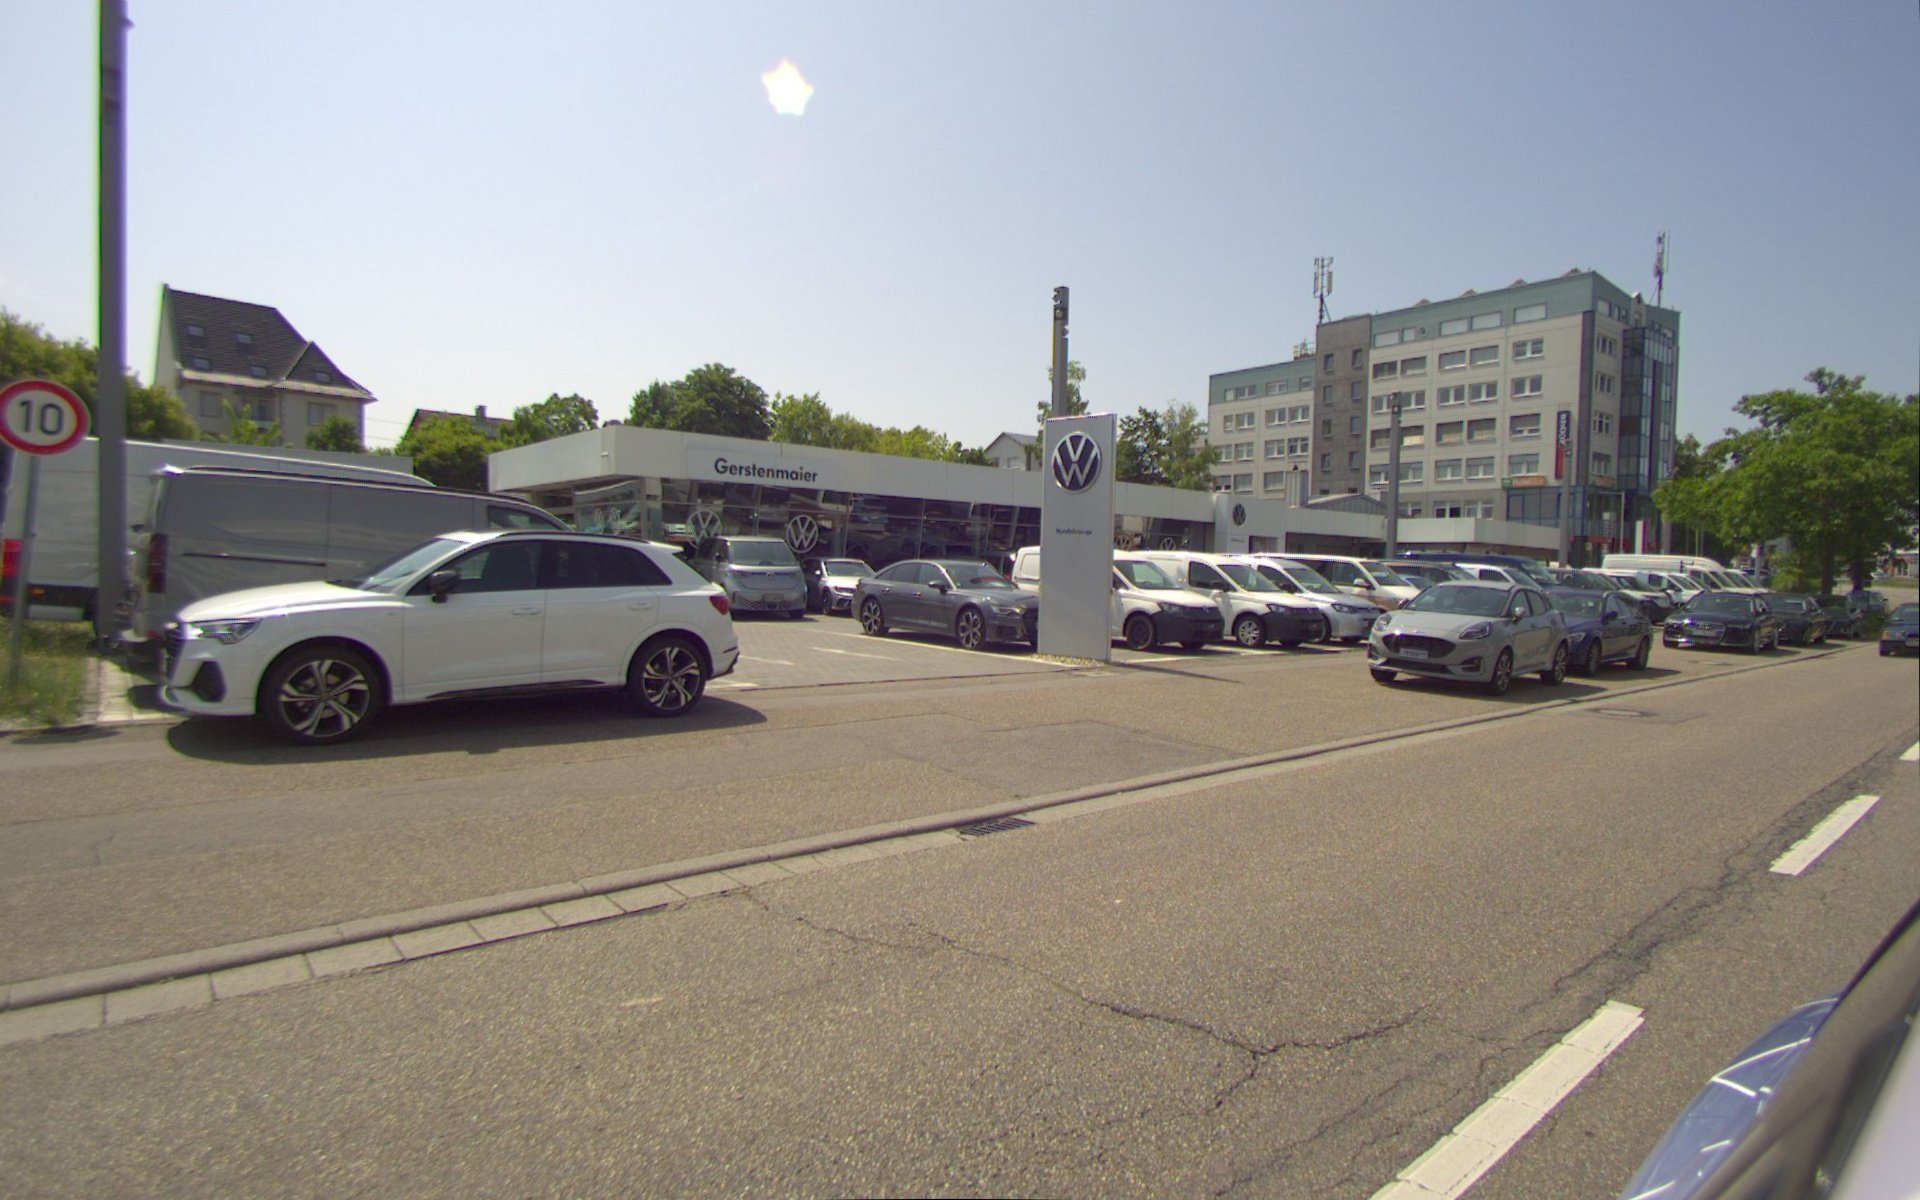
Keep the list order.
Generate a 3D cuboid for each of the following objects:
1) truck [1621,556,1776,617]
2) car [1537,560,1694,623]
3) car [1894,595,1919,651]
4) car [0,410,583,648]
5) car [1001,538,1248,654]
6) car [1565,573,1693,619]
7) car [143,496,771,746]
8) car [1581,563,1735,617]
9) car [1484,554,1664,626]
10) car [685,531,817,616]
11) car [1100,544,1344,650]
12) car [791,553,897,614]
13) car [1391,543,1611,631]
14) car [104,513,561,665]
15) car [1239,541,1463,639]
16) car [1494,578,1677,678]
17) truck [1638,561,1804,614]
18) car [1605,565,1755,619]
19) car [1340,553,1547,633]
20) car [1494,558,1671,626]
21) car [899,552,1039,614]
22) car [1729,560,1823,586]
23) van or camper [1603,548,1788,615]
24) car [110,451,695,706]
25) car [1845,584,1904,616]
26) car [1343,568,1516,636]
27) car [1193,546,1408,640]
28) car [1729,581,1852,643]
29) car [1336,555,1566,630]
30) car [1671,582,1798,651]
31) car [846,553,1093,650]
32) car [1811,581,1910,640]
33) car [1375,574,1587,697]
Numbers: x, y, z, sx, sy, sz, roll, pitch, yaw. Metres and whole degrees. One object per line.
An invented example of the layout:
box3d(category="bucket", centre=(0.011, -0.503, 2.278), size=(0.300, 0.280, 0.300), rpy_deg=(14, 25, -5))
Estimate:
box3d(category="truck", centre=(33.510, -0.677, 46.072), size=(2.073, 2.465, 5.261), rpy_deg=(0, 4, -39))
box3d(category="car", centre=(25.162, -0.403, 38.975), size=(2.159, 2.037, 4.522), rpy_deg=(-2, 6, -40))
box3d(category="car", centre=(25.430, 0.574, 26.238), size=(1.693, 1.391, 3.936), rpy_deg=(0, 0, 44))
box3d(category="car", centre=(-9.294, -0.869, 14.535), size=(6.895, 2.708, 2.260), rpy_deg=(0, 3, -41))
box3d(category="car", centre=(2.987, -0.173, 19.177), size=(1.876, 1.905, 4.421), rpy_deg=(0, 3, -41))
box3d(category="car", centre=(27.199, -0.182, 41.198), size=(4.025, 1.488, 1.885), rpy_deg=(7, 5, 43))
box3d(category="car", centre=(-4.044, 0.091, 8.668), size=(4.533, 1.615, 1.670), rpy_deg=(0, 3, -42))
box3d(category="car", centre=(29.320, -0.473, 42.647), size=(2.104, 1.994, 4.924), rpy_deg=(-1, 4, -40))
box3d(category="car", centre=(21.256, -0.405, 35.206), size=(2.092, 2.140, 4.909), rpy_deg=(0, 4, -42))
box3d(category="car", centre=(-5.143, -0.669, 24.424), size=(1.961, 1.846, 4.386), rpy_deg=(1, 2, -27))
box3d(category="car", centre=(5.248, -0.158, 20.793), size=(1.826, 1.911, 4.562), rpy_deg=(0, 3, -43))
box3d(category="car", centre=(-3.027, -0.459, 25.958), size=(1.550, 1.430, 3.441), rpy_deg=(1, 2, -27))
box3d(category="car", centre=(17.095, -0.473, 32.325), size=(2.165, 2.554, 5.858), rpy_deg=(-2, 2, -38))
box3d(category="car", centre=(-7.453, -0.124, 12.326), size=(4.521, 1.533, 1.746), rpy_deg=(0, 0, -42))
box3d(category="car", centre=(9.412, -0.314, 24.668), size=(1.927, 2.038, 4.648), rpy_deg=(0, 4, -42))
box3d(category="car", centre=(11.699, 0.409, 18.791), size=(4.711, 1.567, 1.715), rpy_deg=(-1, 4, -44))
box3d(category="truck", centre=(38.509, -0.694, 51.393), size=(2.326, 2.365, 6.262), rpy_deg=(1, 3, -39))
box3d(category="car", centre=(31.416, -0.410, 44.281), size=(2.122, 2.139, 4.957), rpy_deg=(0, 3, -42))
box3d(category="car", centre=(13.313, -0.216, 28.105), size=(1.968, 2.009, 4.796), rpy_deg=(2, 0, -40))
box3d(category="car", centre=(22.750, -0.356, 37.157), size=(2.005, 2.122, 5.076), rpy_deg=(-1, 5, -41))
box3d(category="car", centre=(0.182, -0.527, 28.568), size=(1.825, 1.590, 3.998), rpy_deg=(0, 3, -38))
box3d(category="car", centre=(57.122, -1.908, 70.953), size=(4.688, 1.734, 1.985), rpy_deg=(0, 2, 24))
box3d(category="van or camper", centre=(35.088, -0.959, 48.516), size=(2.236, 2.933, 6.810), rpy_deg=(0, 3, -41))
box3d(category="car", centre=(-5.557, -0.215, 10.588), size=(5.072, 2.048, 1.996), rpy_deg=(-1, 1, -42))
box3d(category="car", centre=(44.899, -0.031, 49.658), size=(4.248, 1.423, 1.799), rpy_deg=(-2, 2, -43))
box3d(category="car", centre=(11.894, -0.003, 25.819), size=(1.684, 1.590, 3.642), rpy_deg=(0, 1, -35))
box3d(category="car", centre=(7.504, -0.256, 22.629), size=(1.849, 1.802, 4.159), rpy_deg=(-3, 5, -41))
box3d(category="car", centre=(24.552, 0.284, 29.846), size=(5.072, 1.548, 1.965), rpy_deg=(-1, 5, -42))
box3d(category="car", centre=(14.694, -0.280, 30.646), size=(2.220, 2.039, 5.903), rpy_deg=(-1, 2, -41))
box3d(category="car", centre=(20.080, 0.344, 26.146), size=(5.072, 1.499, 1.857), rpy_deg=(-1, 4, -45))
box3d(category="car", centre=(0.037, -0.053, 18.303), size=(1.965, 1.463, 4.543), rpy_deg=(0, 3, -41))
box3d(category="car", centre=(29.868, 0.277, 33.698), size=(1.674, 1.452, 4.393), rpy_deg=(3, 6, 32))
box3d(category="car", centre=(7.882, 0.429, 15.128), size=(1.732, 1.572, 4.114), rpy_deg=(2, 2, 43))
